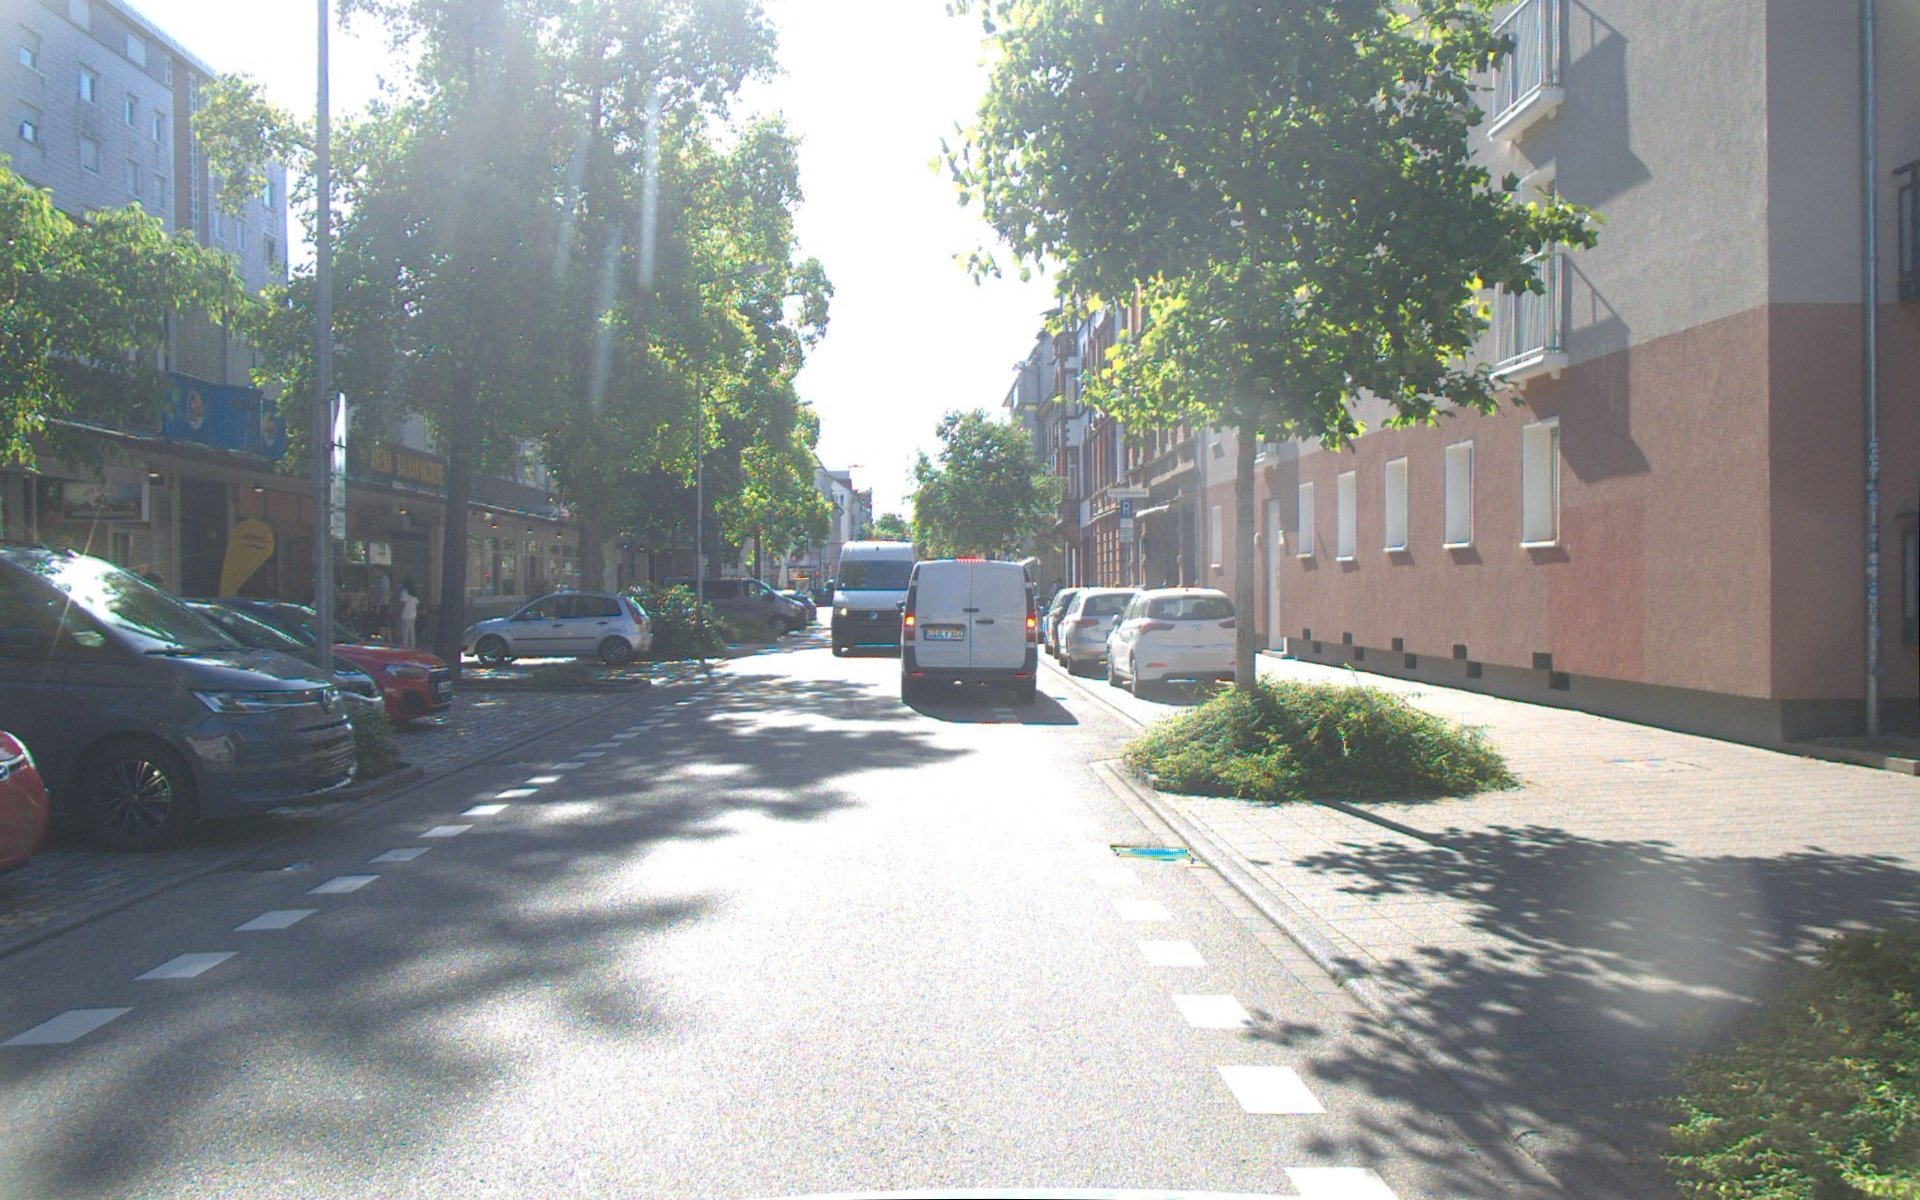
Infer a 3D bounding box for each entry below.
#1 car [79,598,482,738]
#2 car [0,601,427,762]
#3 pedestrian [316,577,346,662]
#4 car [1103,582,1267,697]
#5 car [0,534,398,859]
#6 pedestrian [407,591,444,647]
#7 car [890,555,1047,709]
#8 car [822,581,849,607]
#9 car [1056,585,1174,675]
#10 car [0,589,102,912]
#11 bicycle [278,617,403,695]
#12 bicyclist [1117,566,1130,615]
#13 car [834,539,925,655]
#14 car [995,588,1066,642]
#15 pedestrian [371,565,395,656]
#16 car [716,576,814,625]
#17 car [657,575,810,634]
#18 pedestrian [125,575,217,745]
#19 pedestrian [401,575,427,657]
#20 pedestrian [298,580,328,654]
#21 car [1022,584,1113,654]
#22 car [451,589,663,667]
[{"bbox_3d":[-7.565,0.742,18.702,3.839,1.476,1.709,0,0,-3],"label":"car"},{"bbox_3d":[-7.291,0.769,16.274,3.594,1.476,1.611,0,0,-5],"label":"car"},{"bbox_3d":[-13.492,0.413,35.493,0.475,1.813,0.427,-1,0,-5],"label":"pedestrian"},{"bbox_3d":[3.261,0.529,24.673,1.697,1.512,3.792,-2,1,-3],"label":"car"},{"bbox_3d":[-6.520,0.570,10.973,4.929,1.972,1.872,1,0,-2],"label":"car"},{"bbox_3d":[-13.211,0.467,40.869,0.708,1.354,0.702,0,0,-5],"label":"pedestrian"},{"bbox_3d":[0.008,0.380,23.420,1.882,1.947,4.884,0,1,-4],"label":"car"},{"bbox_3d":[-10.281,-0.496,137.217,1.953,2.049,3.999,-1,0,-1],"label":"car"},{"bbox_3d":[2.802,0.495,30.781,1.749,1.485,4.517,-2,0,0],"label":"car"},{"bbox_3d":[-6.469,0.730,8.247,3.486,1.581,1.661,1,0,-3],"label":"car"},{"bbox_3d":[-9.548,0.854,25.525,1.683,1.136,0.623,1,0,1],"label":"bicycle"},{"bbox_3d":[5.100,-0.299,51.681,0.353,1.503,0.530,0,0,0],"label":"bicyclist"},{"bbox_3d":[-1.828,-0.102,39.599,1.953,2.517,6.602,-1,1,-1],"label":"car"},{"bbox_3d":[2.004,0.407,48.220,1.703,1.477,3.998,-1,0,-3],"label":"car"},{"bbox_3d":[-12.509,0.222,35.855,0.382,1.968,0.361,0,0,-1],"label":"pedestrian"},{"bbox_3d":[-8.430,-0.006,71.713,3.904,2.049,2.001,1,1,3],"label":"car"},{"bbox_3d":[-8.011,0.160,58.845,5.186,2.008,2.014,1,0,-2],"label":"car"},{"bbox_3d":[-8.275,0.617,17.355,0.568,1.742,0.634,-1,0,26],"label":"pedestrian"},{"bbox_3d":[-11.794,0.342,35.710,0.382,1.735,0.502,0,0,-1],"label":"pedestrian"},{"bbox_3d":[-13.352,0.342,34.136,0.459,1.499,0.420,-1,0,-5],"label":"pedestrian"},{"bbox_3d":[2.395,0.400,37.607,1.674,1.506,3.709,-1,0,-2],"label":"car"},{"bbox_3d":[-8.198,0.556,33.900,3.907,1.482,1.859,-1,0,-3],"label":"car"}]
